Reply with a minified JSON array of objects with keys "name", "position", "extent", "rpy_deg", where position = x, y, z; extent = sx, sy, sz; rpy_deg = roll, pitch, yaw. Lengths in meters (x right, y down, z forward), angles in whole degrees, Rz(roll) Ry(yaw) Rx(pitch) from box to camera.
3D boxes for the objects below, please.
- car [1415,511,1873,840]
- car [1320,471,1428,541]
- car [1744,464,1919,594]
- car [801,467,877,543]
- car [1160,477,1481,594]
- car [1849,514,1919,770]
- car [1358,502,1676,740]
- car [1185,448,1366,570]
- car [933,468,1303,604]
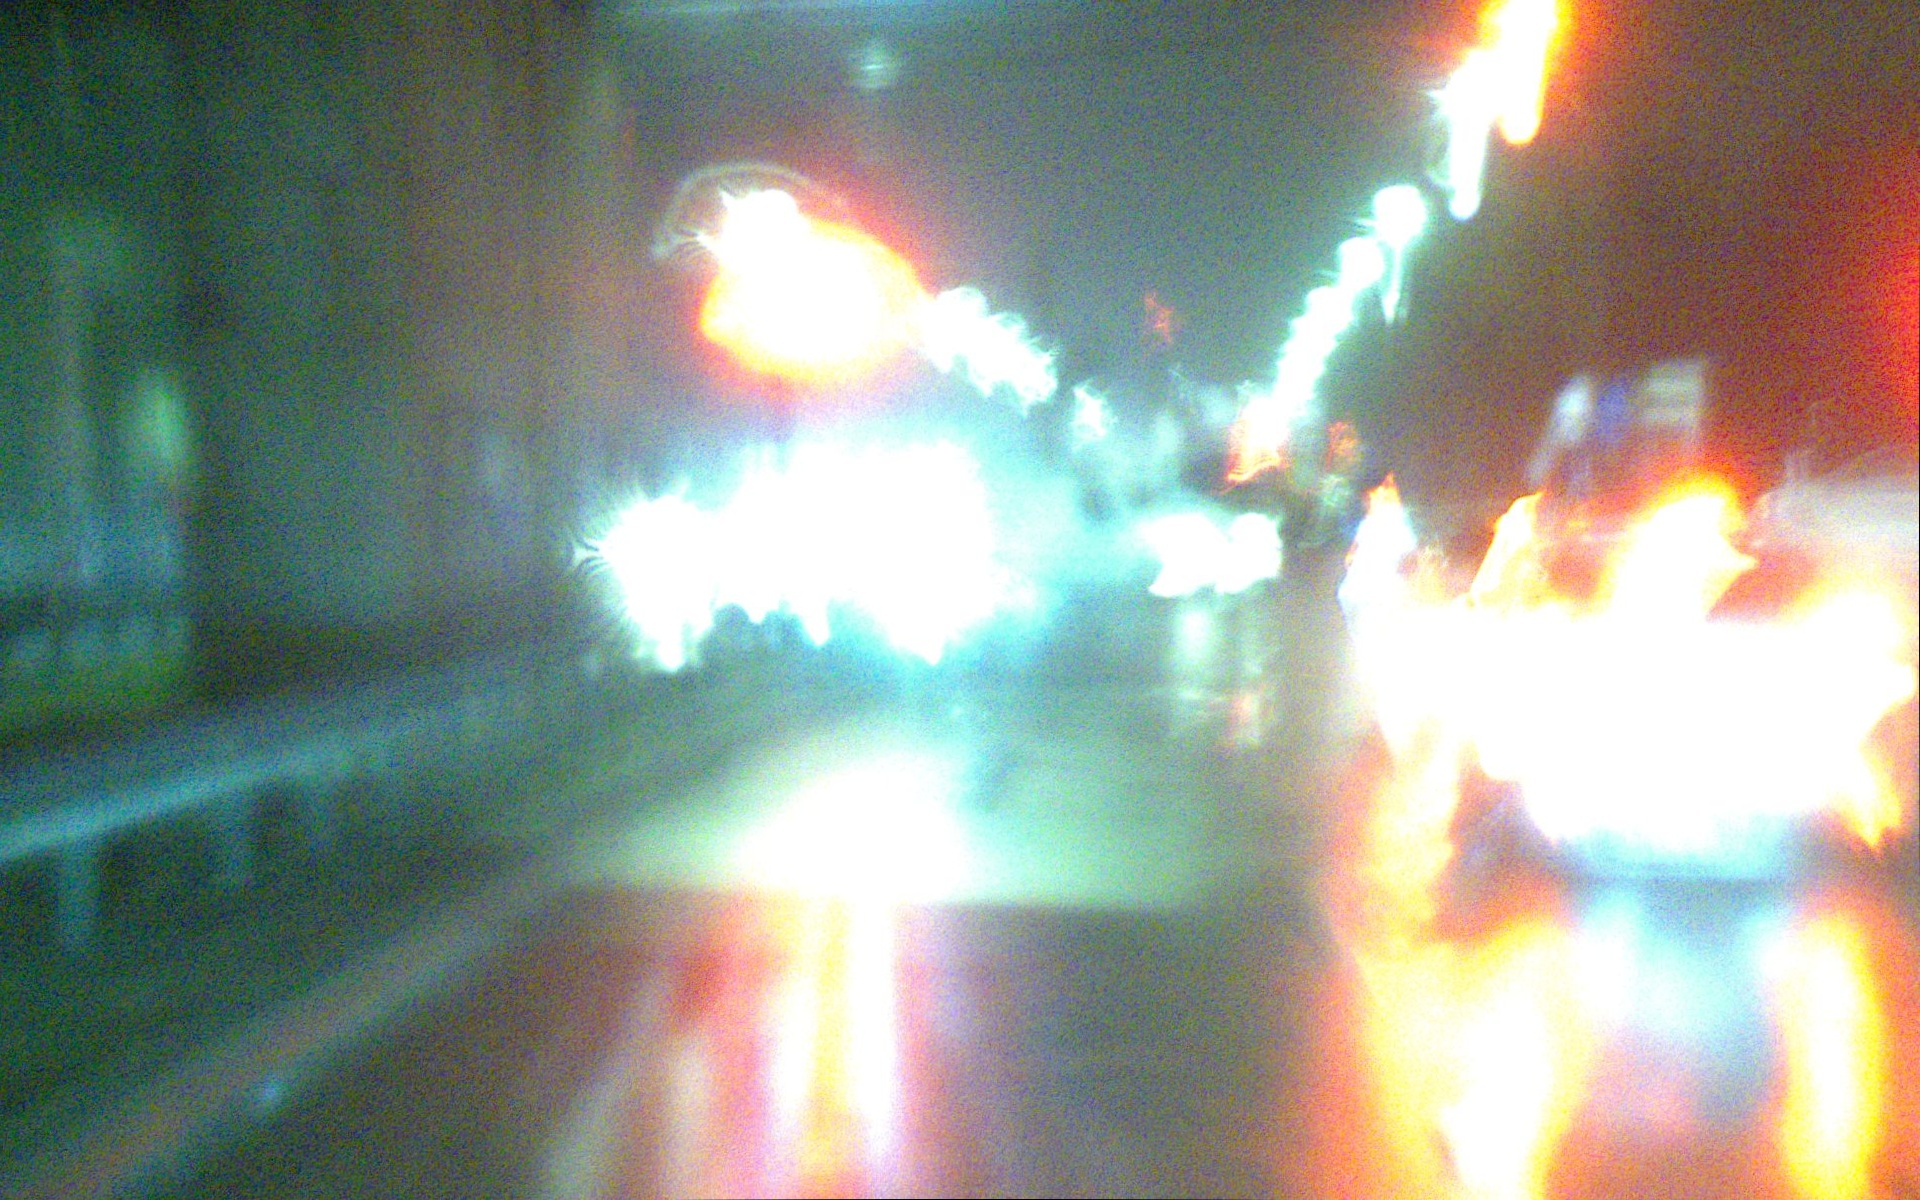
[{"name":"car","position":[3.280,0.285,17.189],"extent":[1.720,1.441,4.162],"rpy_deg":[0,1,4]},{"name":"car","position":[9.380,-2.123,78.223],"extent":[2.091,1.540,4.307],"rpy_deg":[0,1,2]},{"name":"car","position":[14.670,-1.115,54.250],"extent":[4.297,2.007,2.043],"rpy_deg":[0,1,18]},{"name":"car","position":[-2.813,-2.201,80.250],"extent":[1.717,1.728,3.765],"rpy_deg":[0,1,-2]},{"name":"car","position":[5.157,-0.937,49.508],"extent":[4.378,1.617,1.832],"rpy_deg":[1,2,43]},{"name":"car","position":[6.273,0.225,19.279],"extent":[1.720,1.441,4.162],"rpy_deg":[-2,1,4]},{"name":"car","position":[3.734,0.078,23.693],"extent":[1.720,1.441,4.382],"rpy_deg":[-2,1,4]},{"name":"car","position":[5.858,-1.699,64.503],"extent":[2.440,2.186,5.080],"rpy_deg":[0,1,-6]},{"name":"car","position":[2.101,-0.874,46.632],"extent":[4.833,1.763,1.833],"rpy_deg":[1,1,37]}]
